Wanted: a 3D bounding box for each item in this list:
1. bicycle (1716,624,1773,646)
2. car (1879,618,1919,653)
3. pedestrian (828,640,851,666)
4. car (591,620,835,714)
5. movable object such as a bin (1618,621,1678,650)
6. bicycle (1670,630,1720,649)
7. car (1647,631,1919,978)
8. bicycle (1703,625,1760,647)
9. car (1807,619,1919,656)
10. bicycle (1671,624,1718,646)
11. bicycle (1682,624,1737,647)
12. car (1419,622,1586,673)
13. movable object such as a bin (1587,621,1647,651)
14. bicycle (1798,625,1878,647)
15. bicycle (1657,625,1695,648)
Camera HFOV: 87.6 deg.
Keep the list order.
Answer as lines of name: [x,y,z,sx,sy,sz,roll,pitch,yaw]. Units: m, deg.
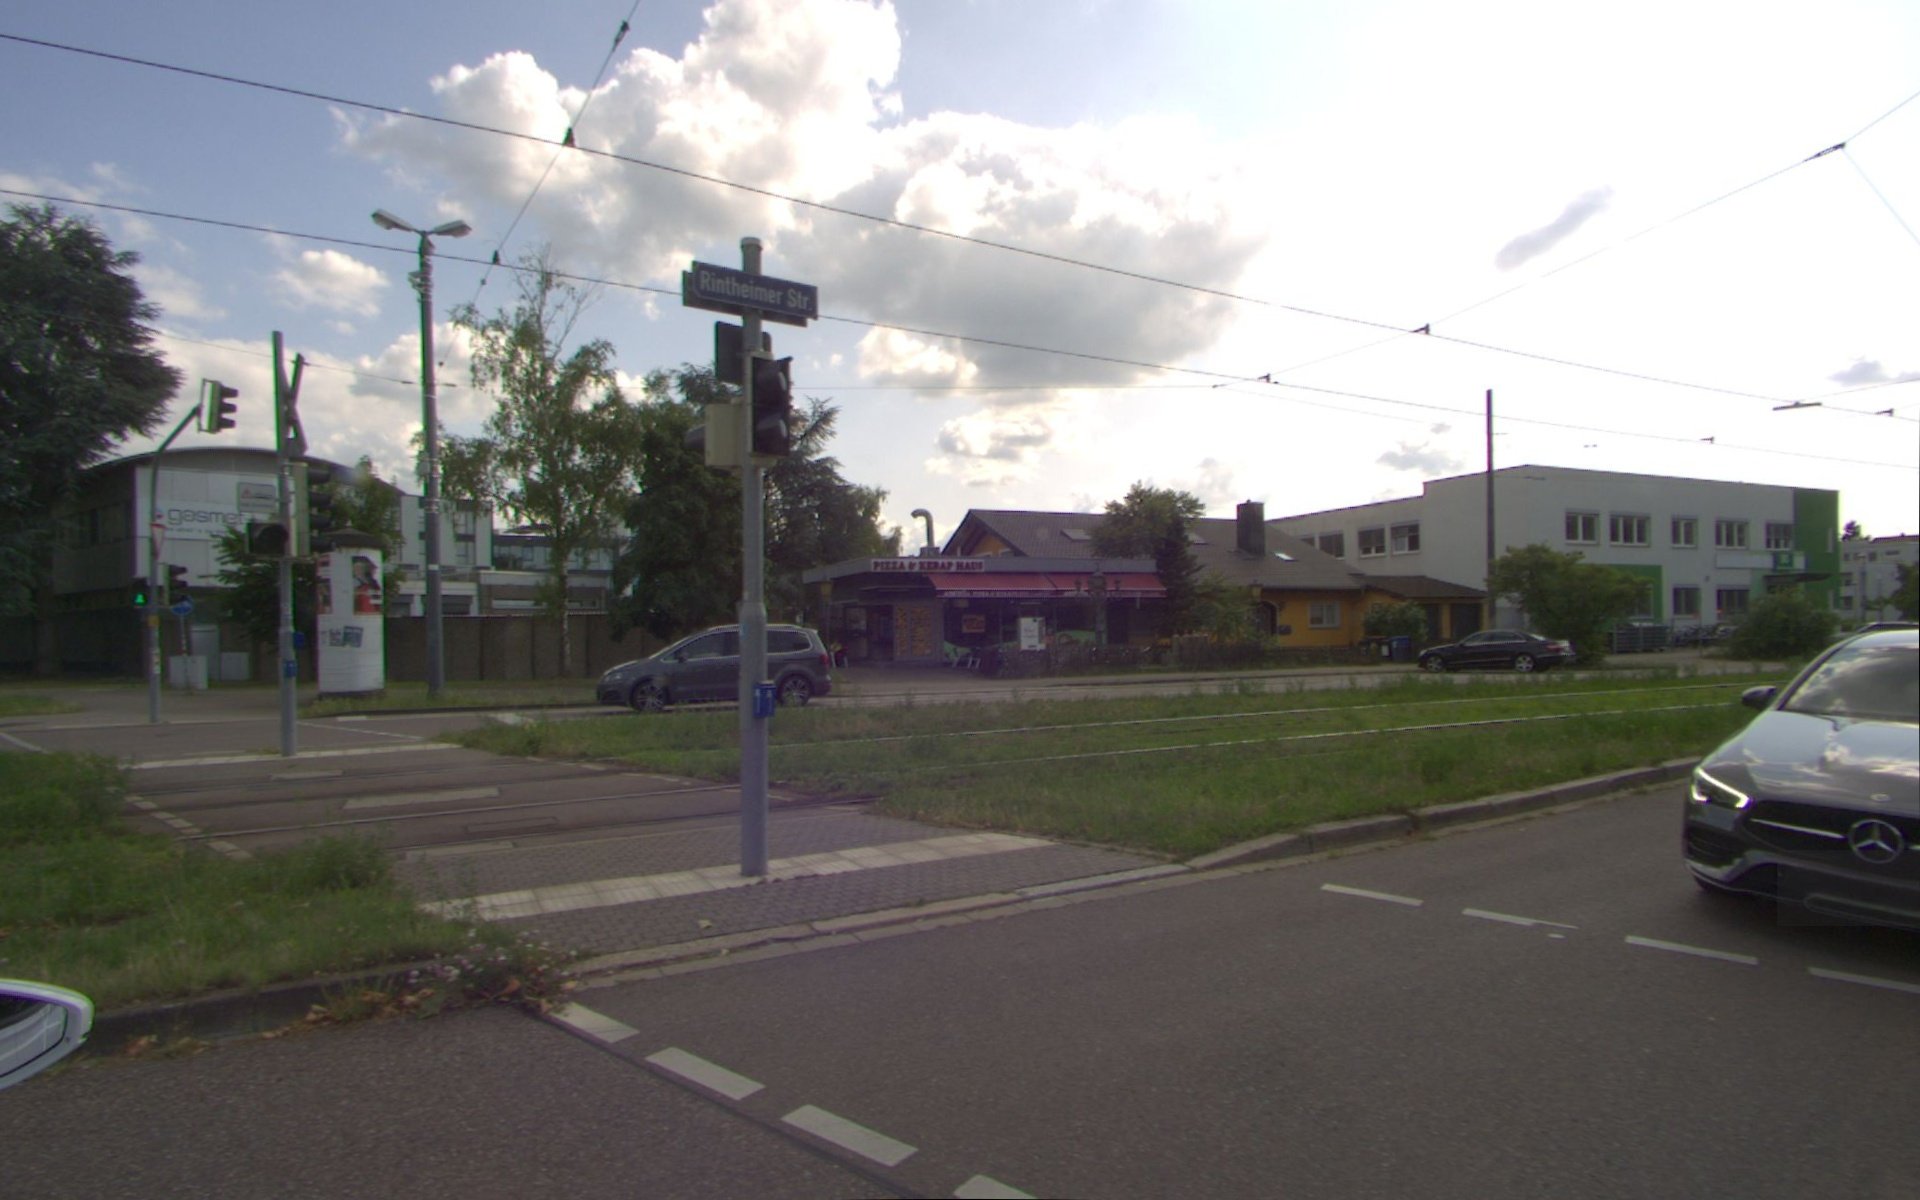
bicycle: [42.338,1.884,54.091,0.782,1.129,2.387,0,-2,-17]
car: [46.798,1.669,47.748,4.262,1.650,1.888,-1,-1,39]
pedestrian: [-4.467,1.961,37.161,0.714,0.941,0.775,1,0,-19]
car: [-5.129,1.314,20.807,4.663,1.744,1.994,0,-1,-23]
movable object such as a bin: [32.890,1.711,47.878,2.095,1.343,1.374,0,-1,-20]
bicycle: [39.361,2.107,53.653,0.718,0.982,2.155,0,-2,-19]
car: [5.802,0.922,5.725,4.552,1.412,1.826,1,0,-38]
bicycle: [41.466,1.935,53.863,0.735,1.181,2.415,0,-2,-16]
car: [41.321,1.697,45.363,4.256,1.650,1.891,-2,-2,34]
bicycle: [37.657,1.811,51.370,0.725,1.095,1.791,0,-2,-26]
bicycle: [40.268,1.917,53.807,0.747,1.181,2.348,0,-2,-18]
car: [18.253,1.629,33.844,1.980,1.600,4.538,1,-3,-43]
movable object such as a bin: [30.883,1.685,47.056,2.081,1.343,1.374,0,-1,-20]
bicycle: [48.876,2.014,55.794,1.125,1.181,3.131,0,-2,-27]
bicycle: [37.953,1.918,53.103,0.692,1.181,1.621,-1,-1,-7]
